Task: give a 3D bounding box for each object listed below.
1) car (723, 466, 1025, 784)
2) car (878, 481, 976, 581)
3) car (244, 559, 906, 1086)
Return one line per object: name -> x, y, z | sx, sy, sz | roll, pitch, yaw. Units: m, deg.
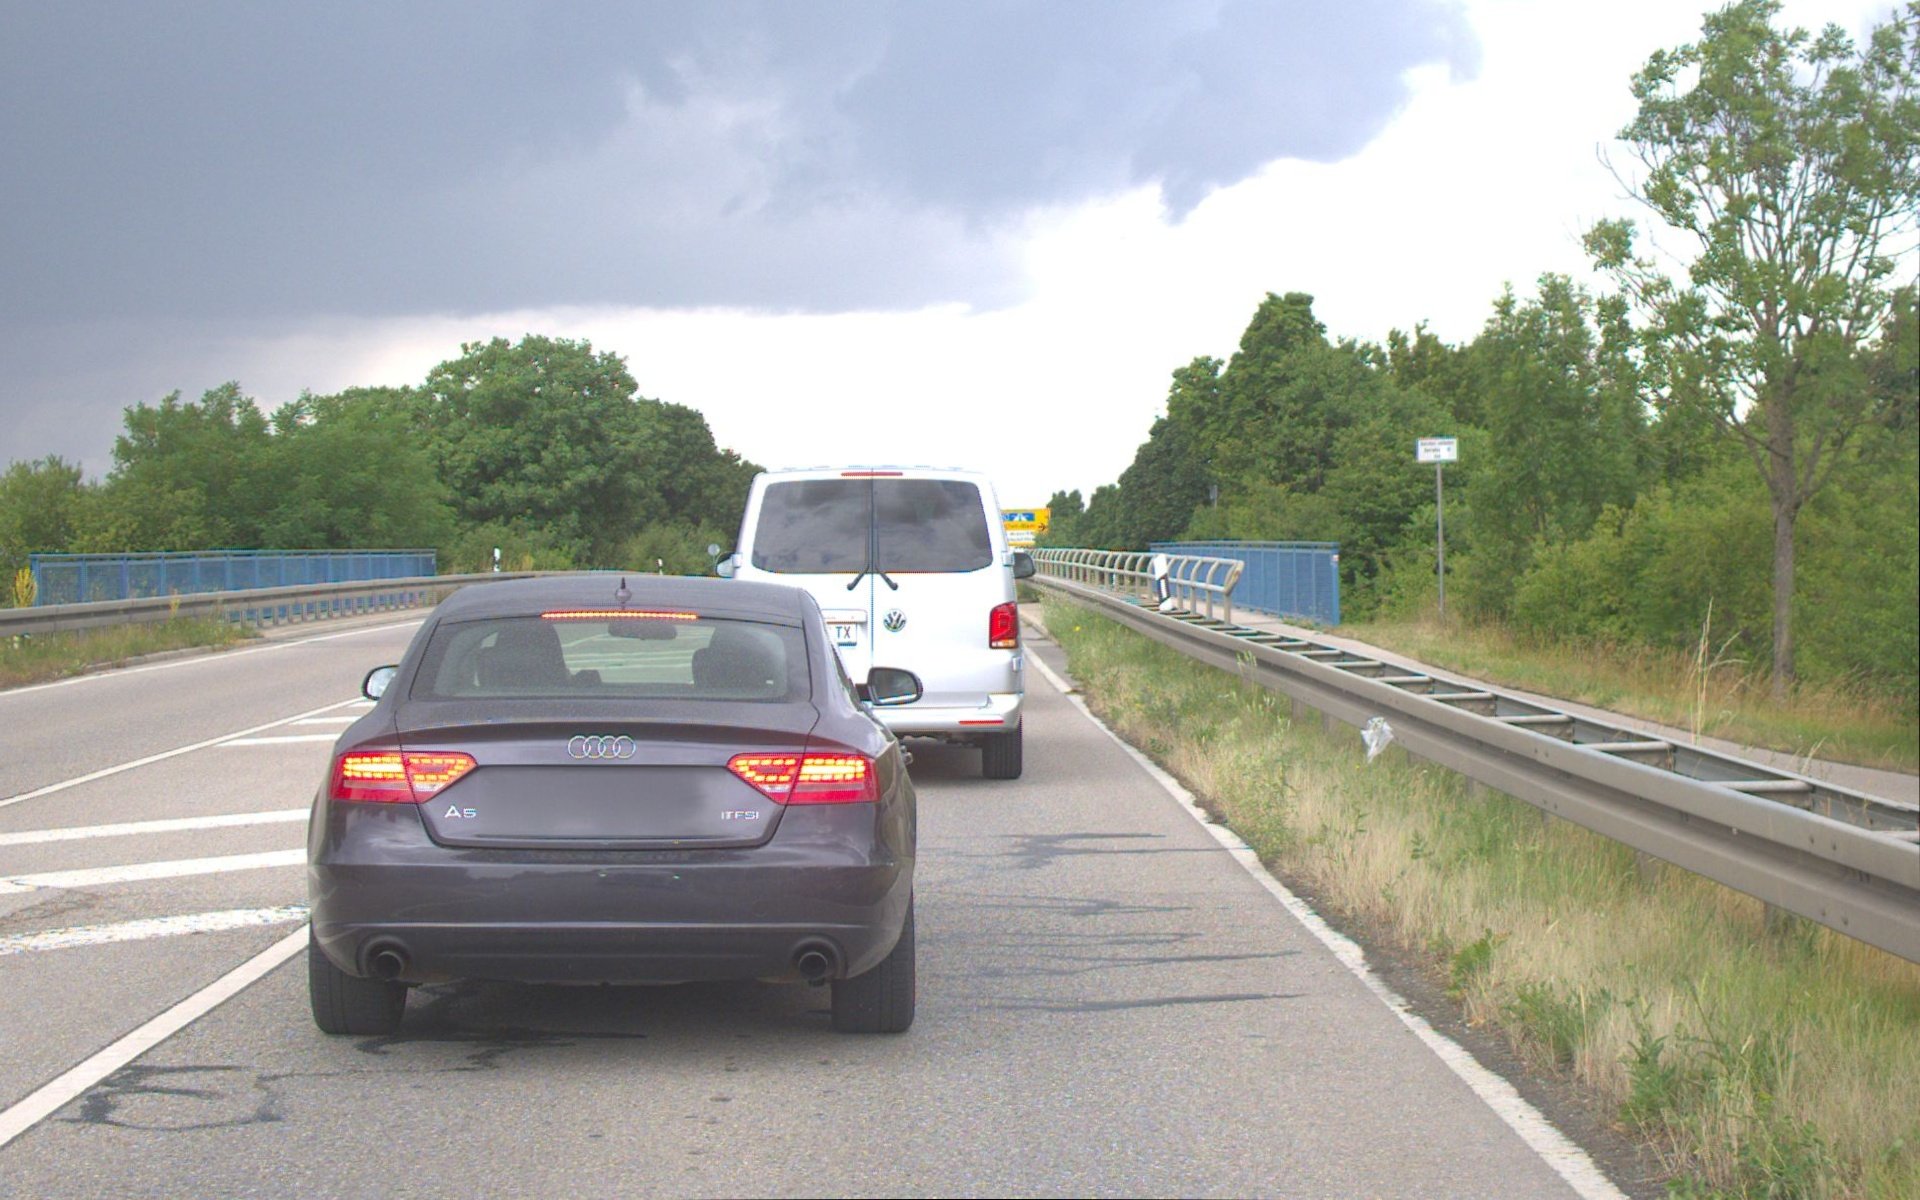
car -> -0.542, 0.133, 22.514 | 1.785, 1.883, 4.000 | 1, 0, -1
car -> -0.854, -1.783, 89.108 | 2.447, 2.495, 5.041 | 1, 1, 0
car -> -1.081, 0.590, 11.369 | 1.785, 1.419, 4.000 | 1, 0, -1
